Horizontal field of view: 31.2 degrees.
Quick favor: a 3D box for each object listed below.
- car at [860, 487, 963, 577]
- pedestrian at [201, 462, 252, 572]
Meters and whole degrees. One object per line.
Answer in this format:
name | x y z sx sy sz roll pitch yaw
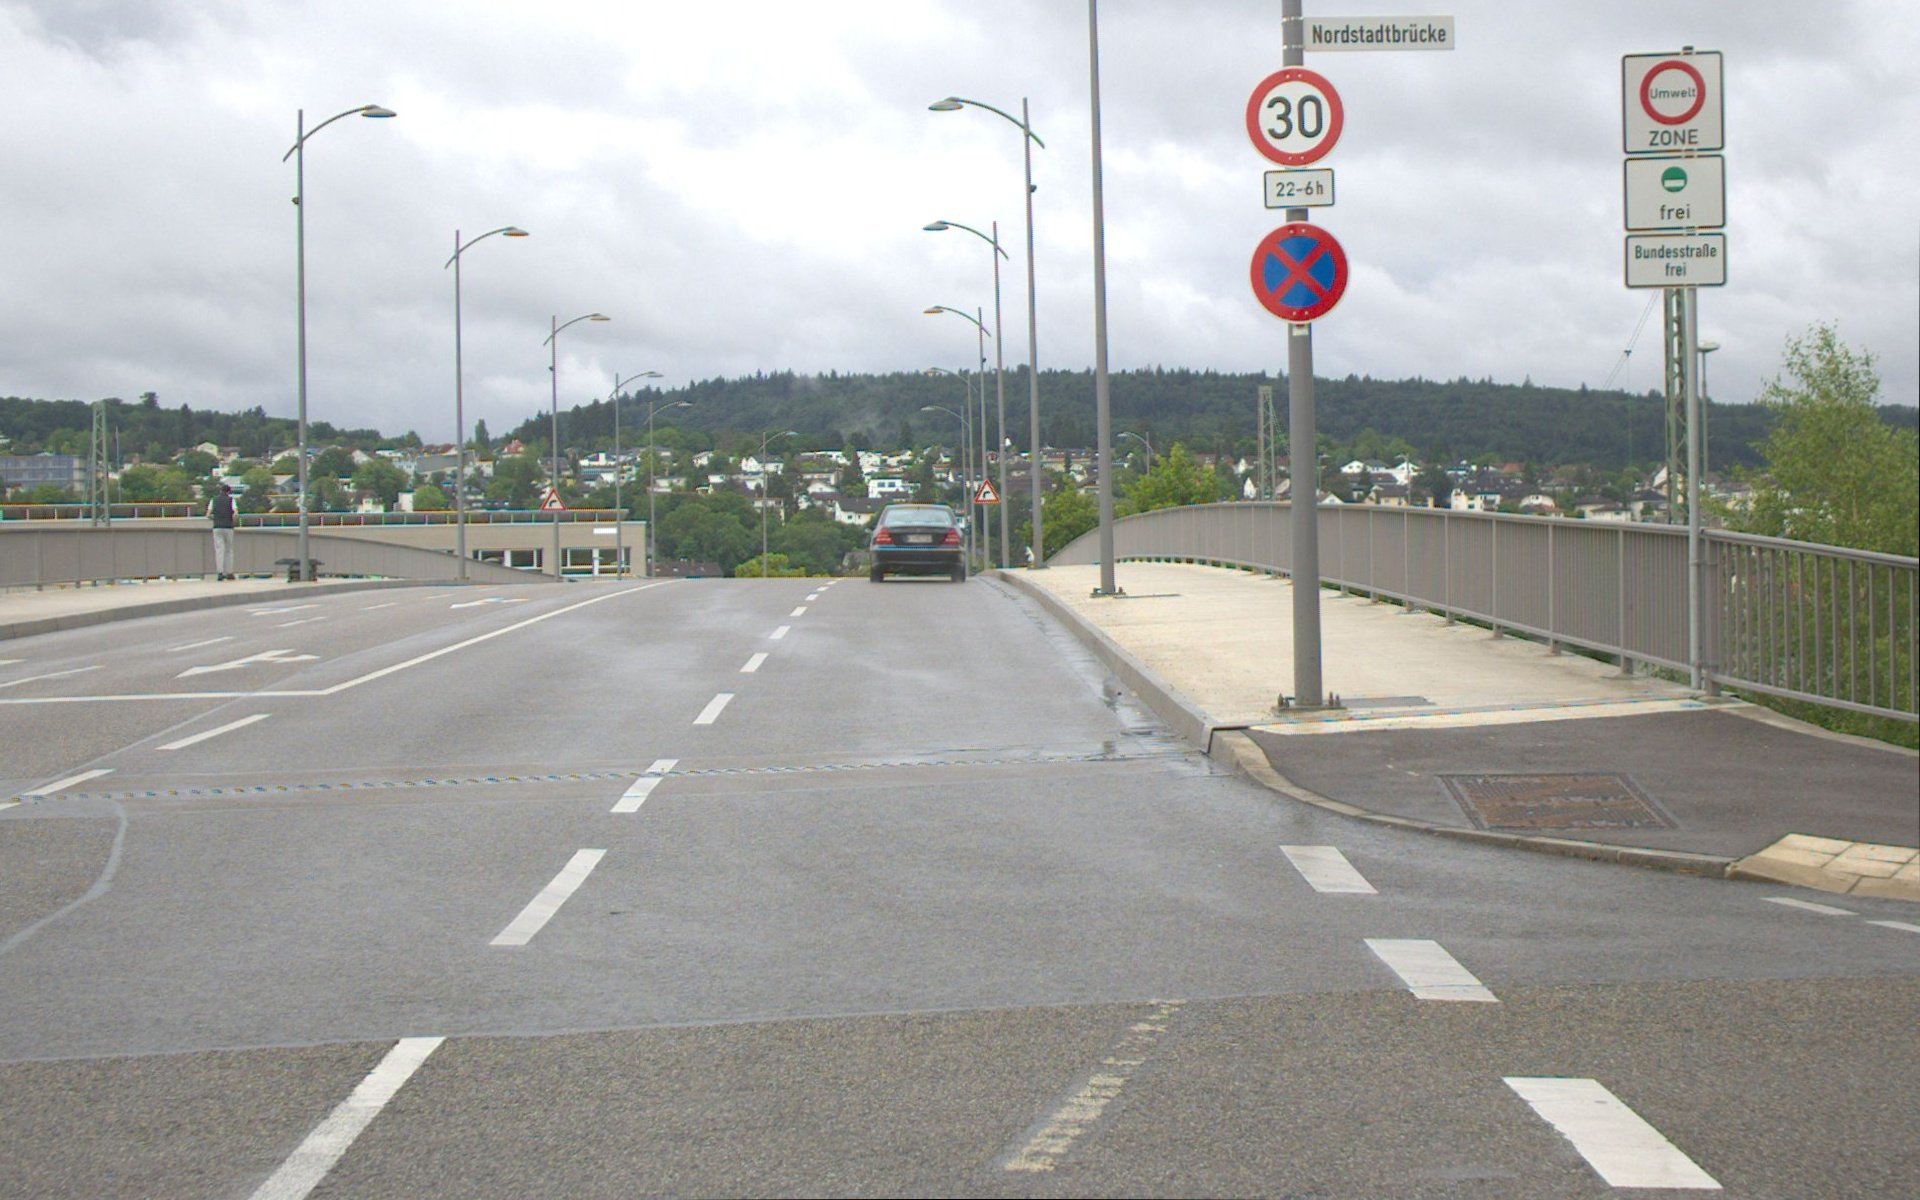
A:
car | -0.856 -1.191 61.532 1.754 1.474 4.000 -1 0 -1
pedestrian | -13.910 -1.576 65.201 0.756 2.041 0.892 -1 -1 -1
